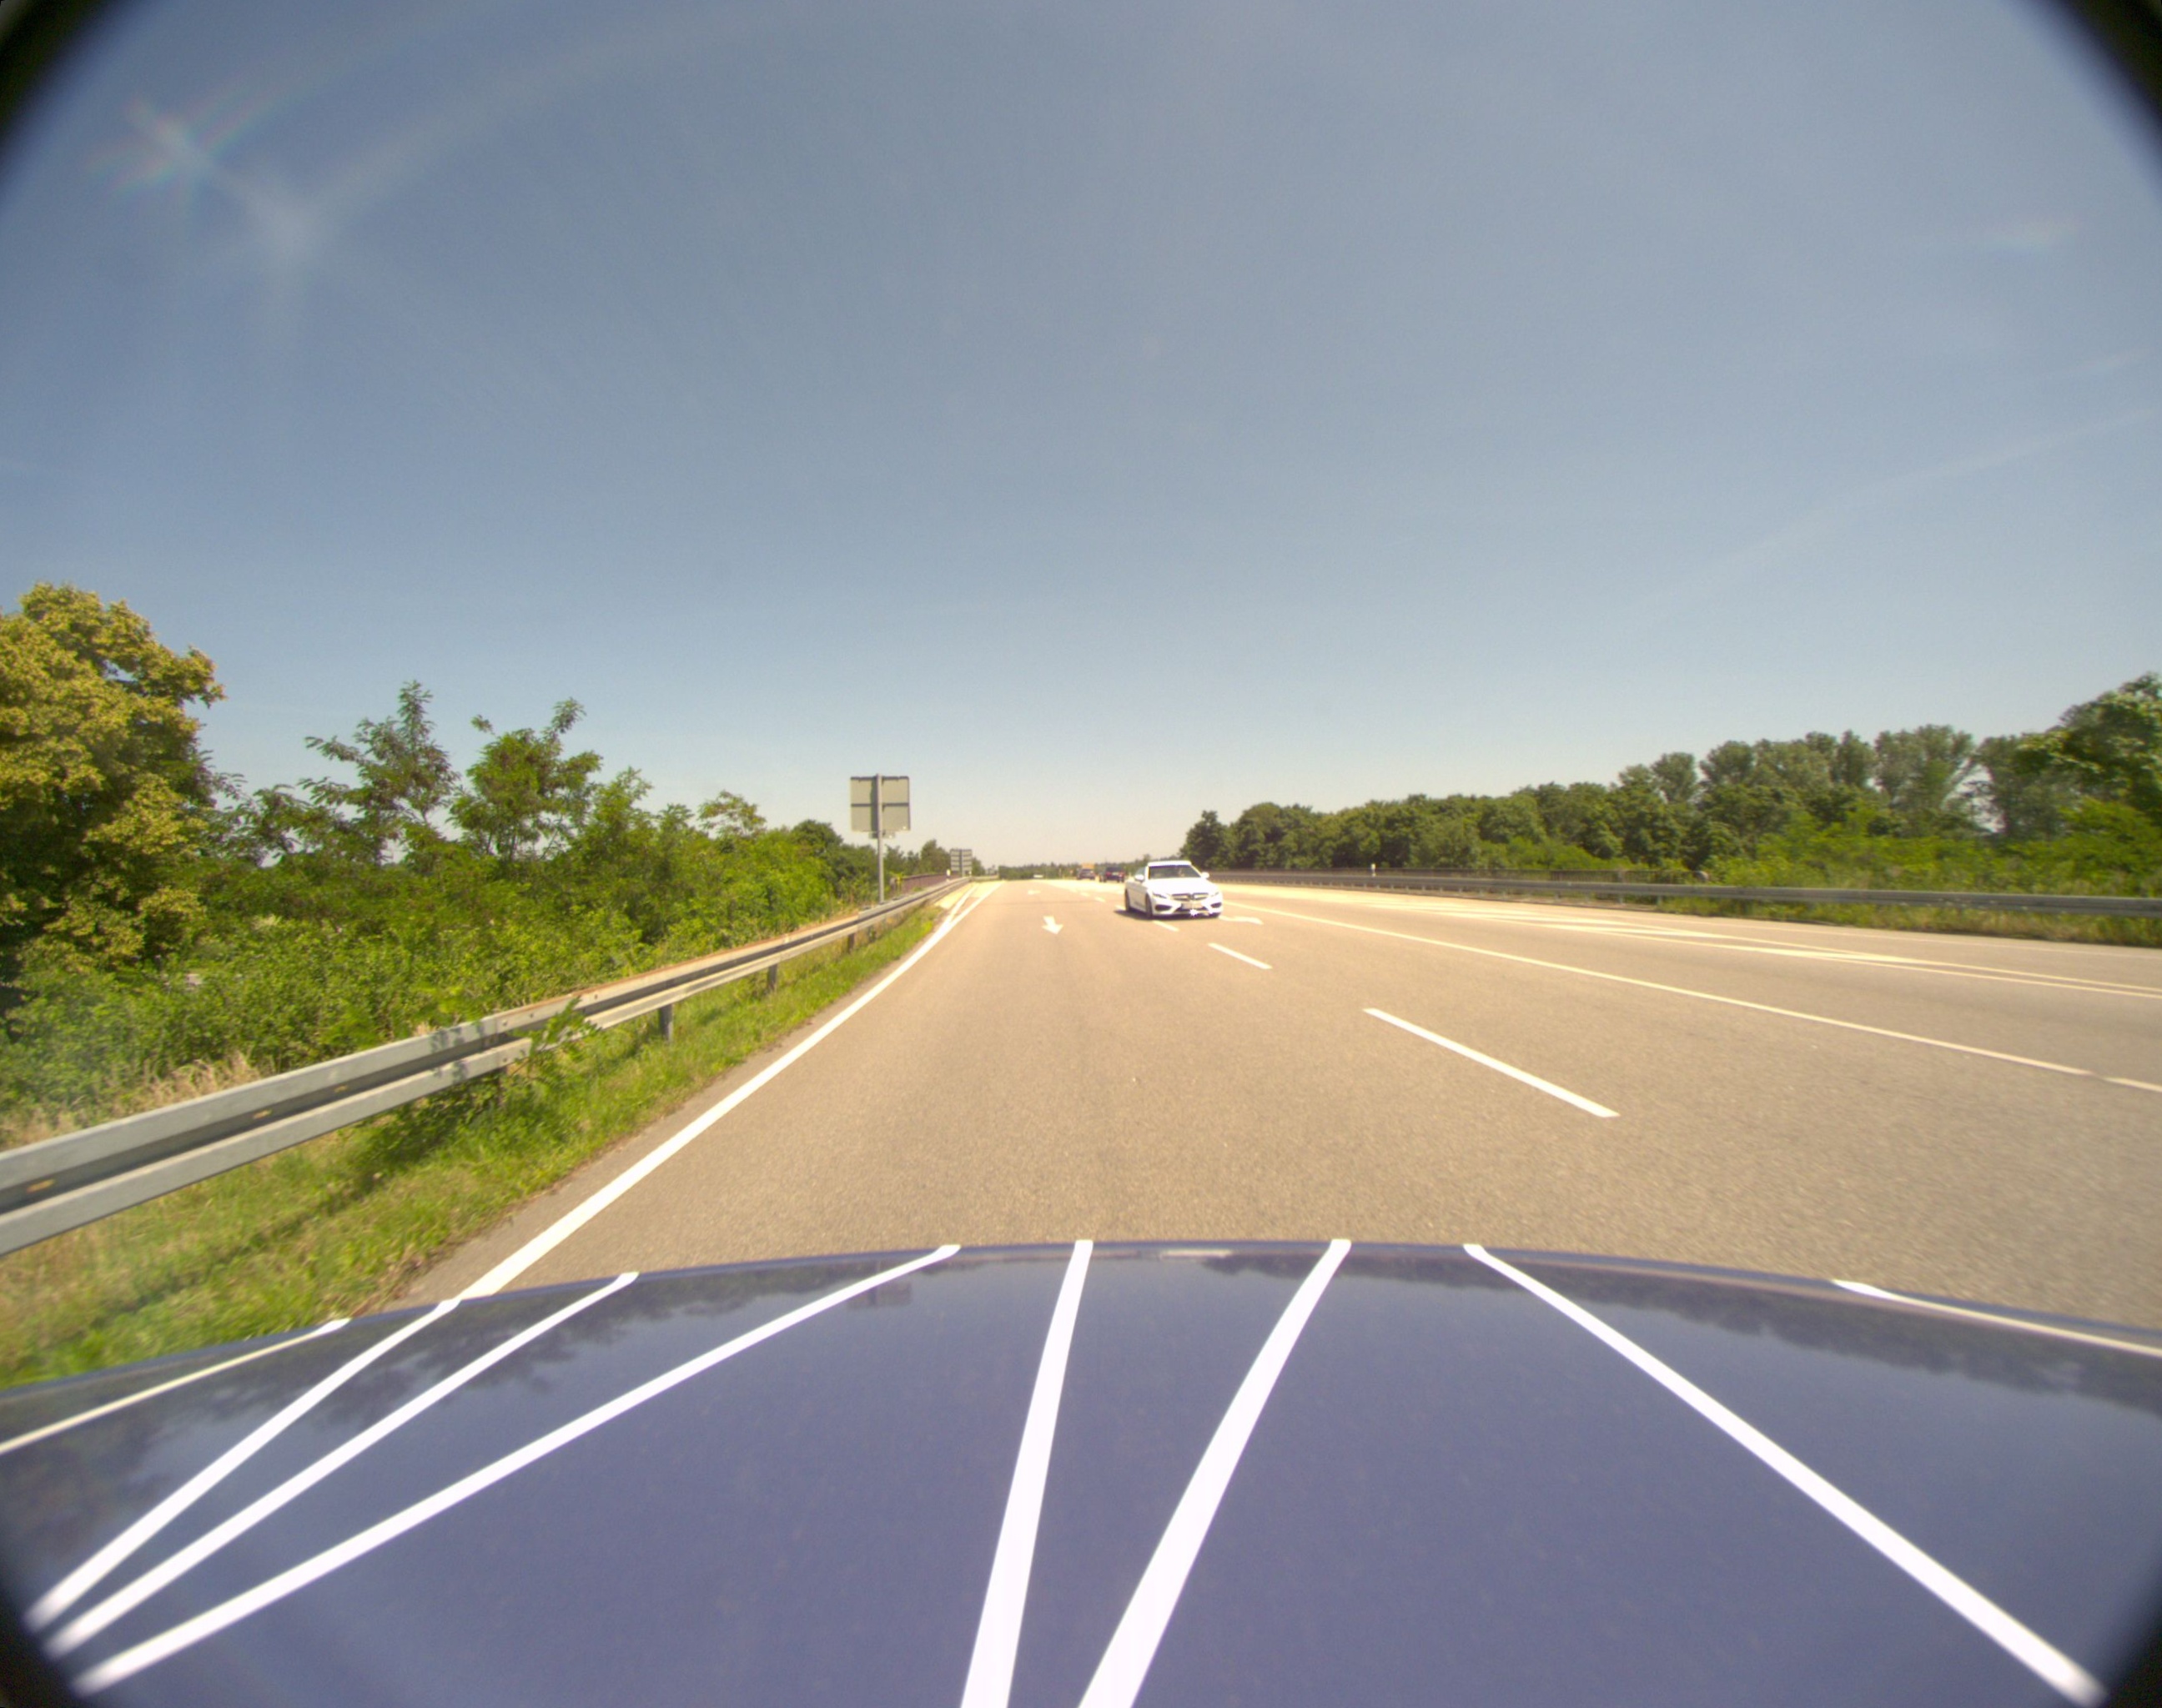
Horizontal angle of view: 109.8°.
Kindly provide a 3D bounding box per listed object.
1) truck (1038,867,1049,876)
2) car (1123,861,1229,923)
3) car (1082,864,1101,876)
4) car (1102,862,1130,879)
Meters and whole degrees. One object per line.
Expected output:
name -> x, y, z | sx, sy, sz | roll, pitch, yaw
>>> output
truck -> -9.323, 4.252, 188.041 | 2.213, 2.229, 5.371 | -1, -1, -7
car -> 2.389, 0.945, 20.163 | 1.814, 1.407, 4.108 | -2, -1, -7
car -> 1.210, 1.877, 89.814 | 1.729, 1.444, 4.793 | 0, -1, -5
car -> 2.922, 1.368, 64.252 | 1.740, 1.392, 4.379 | 0, -1, -6
